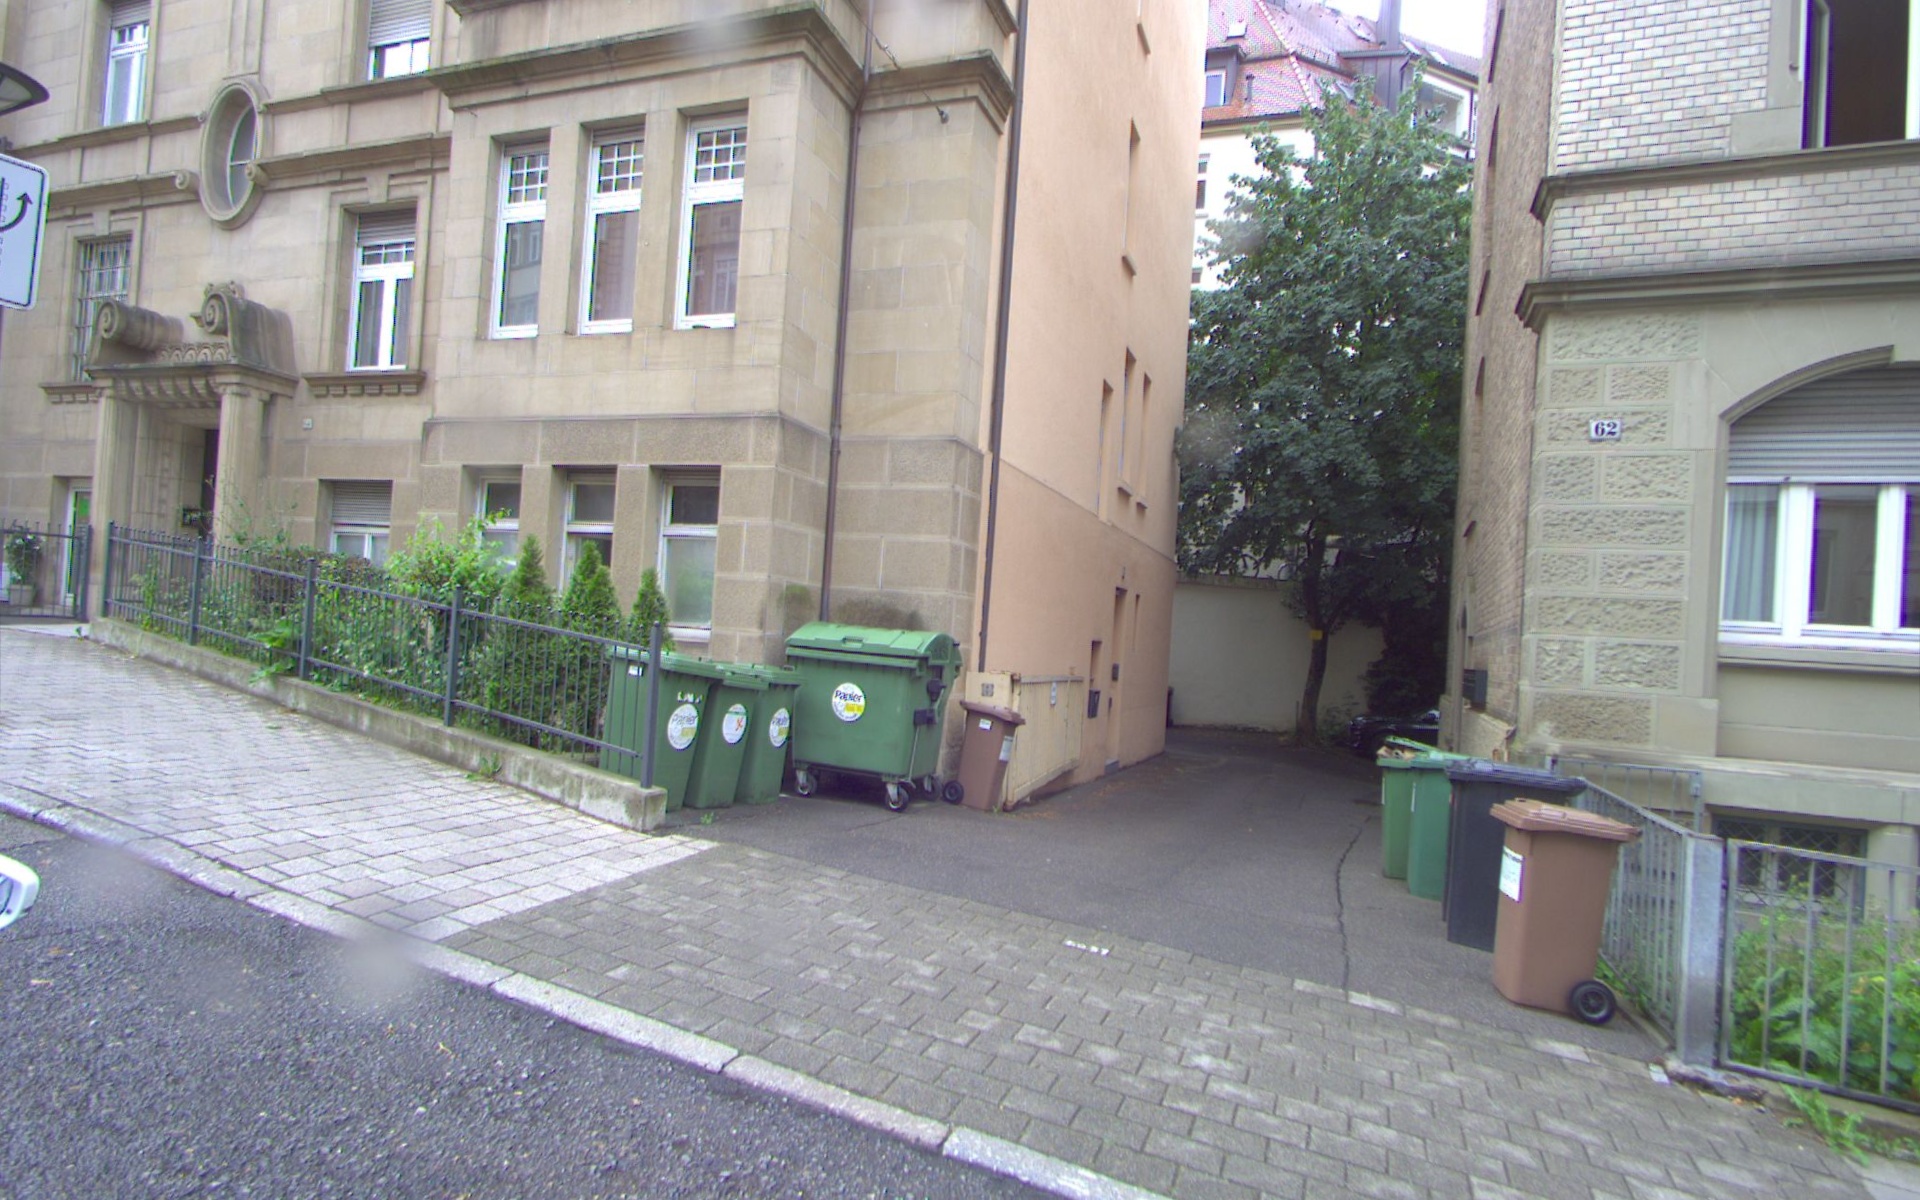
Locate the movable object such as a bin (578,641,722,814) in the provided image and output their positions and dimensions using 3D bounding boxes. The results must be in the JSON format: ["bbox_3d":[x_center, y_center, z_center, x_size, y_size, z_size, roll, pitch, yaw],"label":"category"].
[{"bbox_3d":[-2.071,0.846,6.757,0.593,1.036,0.540,6,-4,20],"label":"movable object such as a bin"}]

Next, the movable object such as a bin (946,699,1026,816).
[{"bbox_3d":[0.240,1.392,8.974,0.510,0.952,0.395,6,-4,20],"label":"movable object such as a bin"}]

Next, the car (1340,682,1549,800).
[{"bbox_3d":[10.992,3.127,22.973,3.930,1.530,1.796,13,5,28],"label":"car"}]

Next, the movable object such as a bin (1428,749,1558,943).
[{"bbox_3d":[3.384,1.537,6.428,0.598,1.072,0.501,6,-3,24],"label":"movable object such as a bin"}]

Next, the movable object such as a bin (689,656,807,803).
[{"bbox_3d":[-1.655,1.008,7.908,0.593,1.036,0.540,6,-4,20],"label":"movable object such as a bin"}]

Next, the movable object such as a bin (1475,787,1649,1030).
[{"bbox_3d":[2.810,1.419,4.741,0.527,0.932,0.427,7,2,20],"label":"movable object such as a bin"}]

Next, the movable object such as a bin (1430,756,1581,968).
[{"bbox_3d":[3.160,1.479,5.843,0.653,1.041,0.529,6,-4,30],"label":"movable object such as a bin"}]

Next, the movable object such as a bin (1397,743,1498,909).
[{"bbox_3d":[3.571,1.633,7.401,0.545,1.072,0.498,6,-3,24],"label":"movable object such as a bin"}]

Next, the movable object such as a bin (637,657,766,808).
[{"bbox_3d":[-1.865,0.953,7.298,0.593,0.978,0.540,6,-4,20],"label":"movable object such as a bin"}]

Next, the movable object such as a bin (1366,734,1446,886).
[{"bbox_3d":[3.597,1.671,8.134,0.469,1.113,0.521,6,-3,23],"label":"movable object such as a bin"}]

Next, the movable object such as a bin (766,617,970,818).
[{"bbox_3d":[-0.748,0.973,8.479,1.256,1.447,0.976,6,-4,20],"label":"movable object such as a bin"}]
